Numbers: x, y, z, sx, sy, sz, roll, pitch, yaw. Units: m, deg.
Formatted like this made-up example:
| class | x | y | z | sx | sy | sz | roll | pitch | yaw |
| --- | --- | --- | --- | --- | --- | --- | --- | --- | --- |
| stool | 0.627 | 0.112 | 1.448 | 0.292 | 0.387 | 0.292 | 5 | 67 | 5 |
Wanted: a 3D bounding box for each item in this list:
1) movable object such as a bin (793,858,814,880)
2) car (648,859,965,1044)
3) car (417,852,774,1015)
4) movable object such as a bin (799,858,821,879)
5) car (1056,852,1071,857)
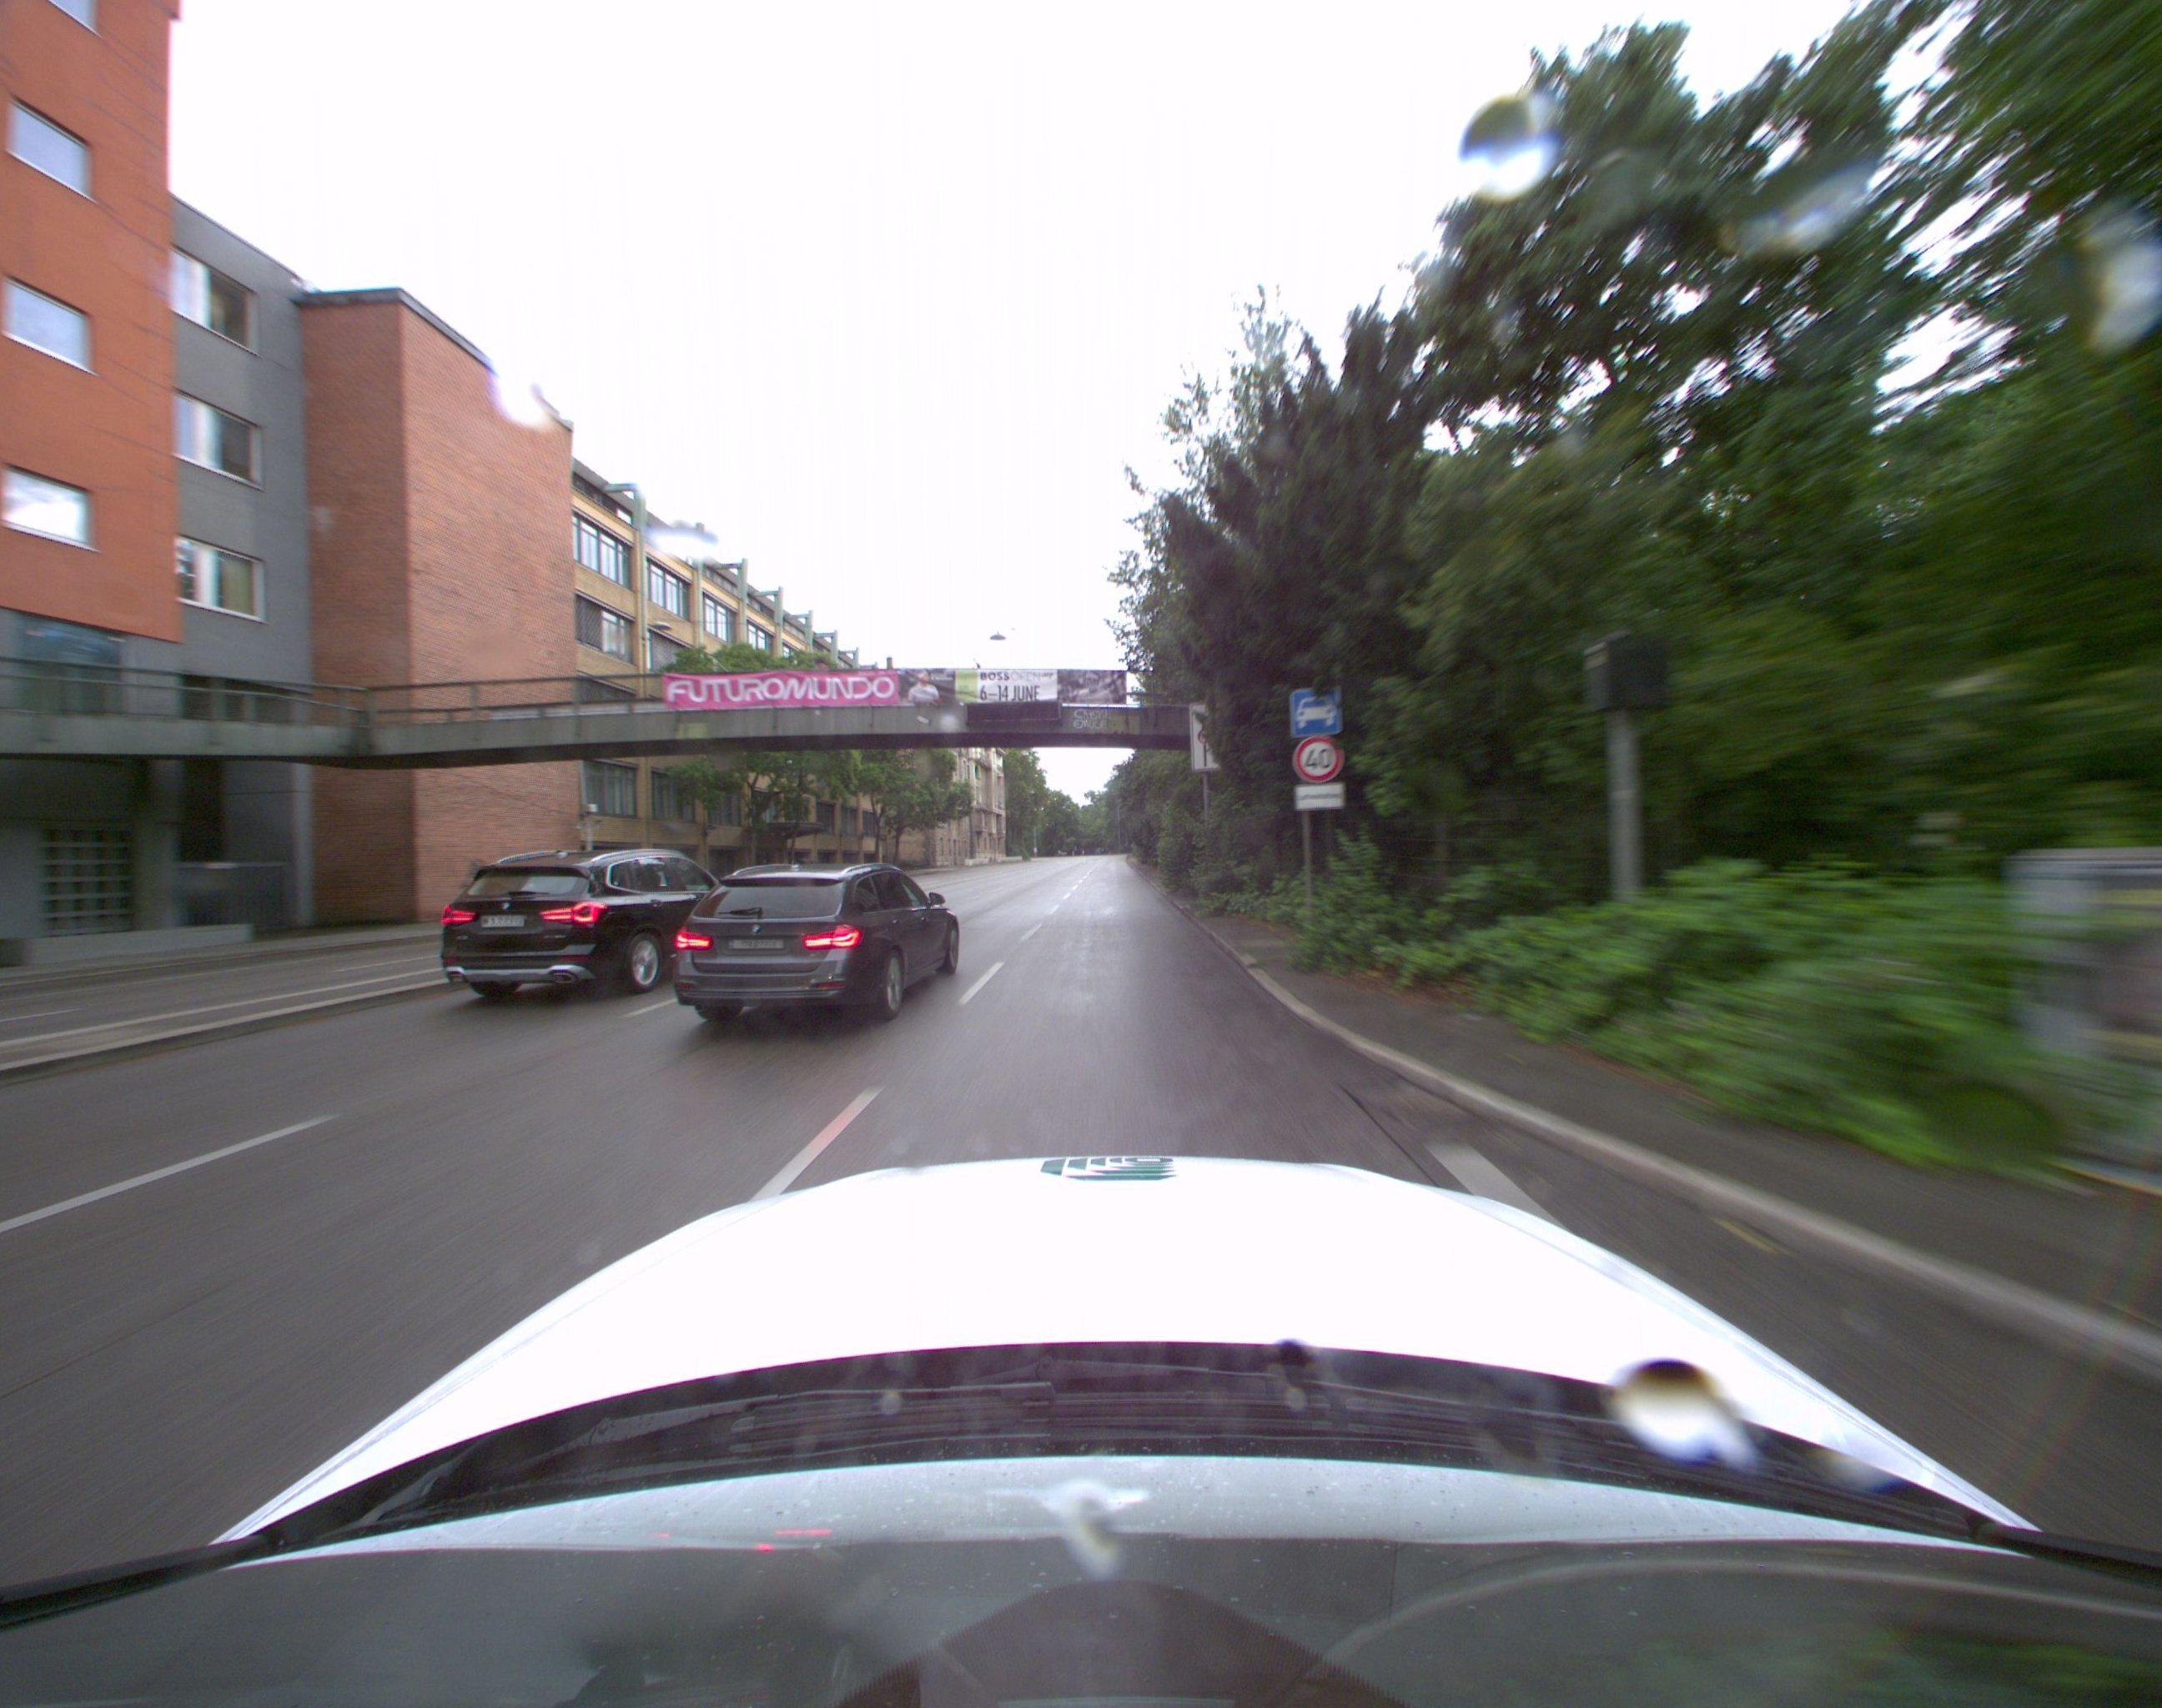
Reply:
| class | x | y | z | sx | sy | sz | roll | pitch | yaw |
| --- | --- | --- | --- | --- | --- | --- | --- | --- | --- |
| movable object such as a bin | -18.503 | 0.988 | 54.333 | 0.970 | 1.436 | 1.313 | -1 | 0 | -2 |
| car | -2.525 | 0.803 | 8.754 | 1.751 | 1.432 | 4.415 | 0 | 0 | 2 |
| car | -5.741 | 0.801 | 10.424 | 1.751 | 1.586 | 4.415 | -2 | 0 | 2 |
| movable object such as a bin | -18.528 | 0.986 | 55.687 | 1.065 | 1.436 | 1.371 | -1 | 0 | -2 |
| car | -4.854 | 0.113 | 221.789 | 1.702 | 1.427 | 4.317 | 2 | -3 | -44 |
